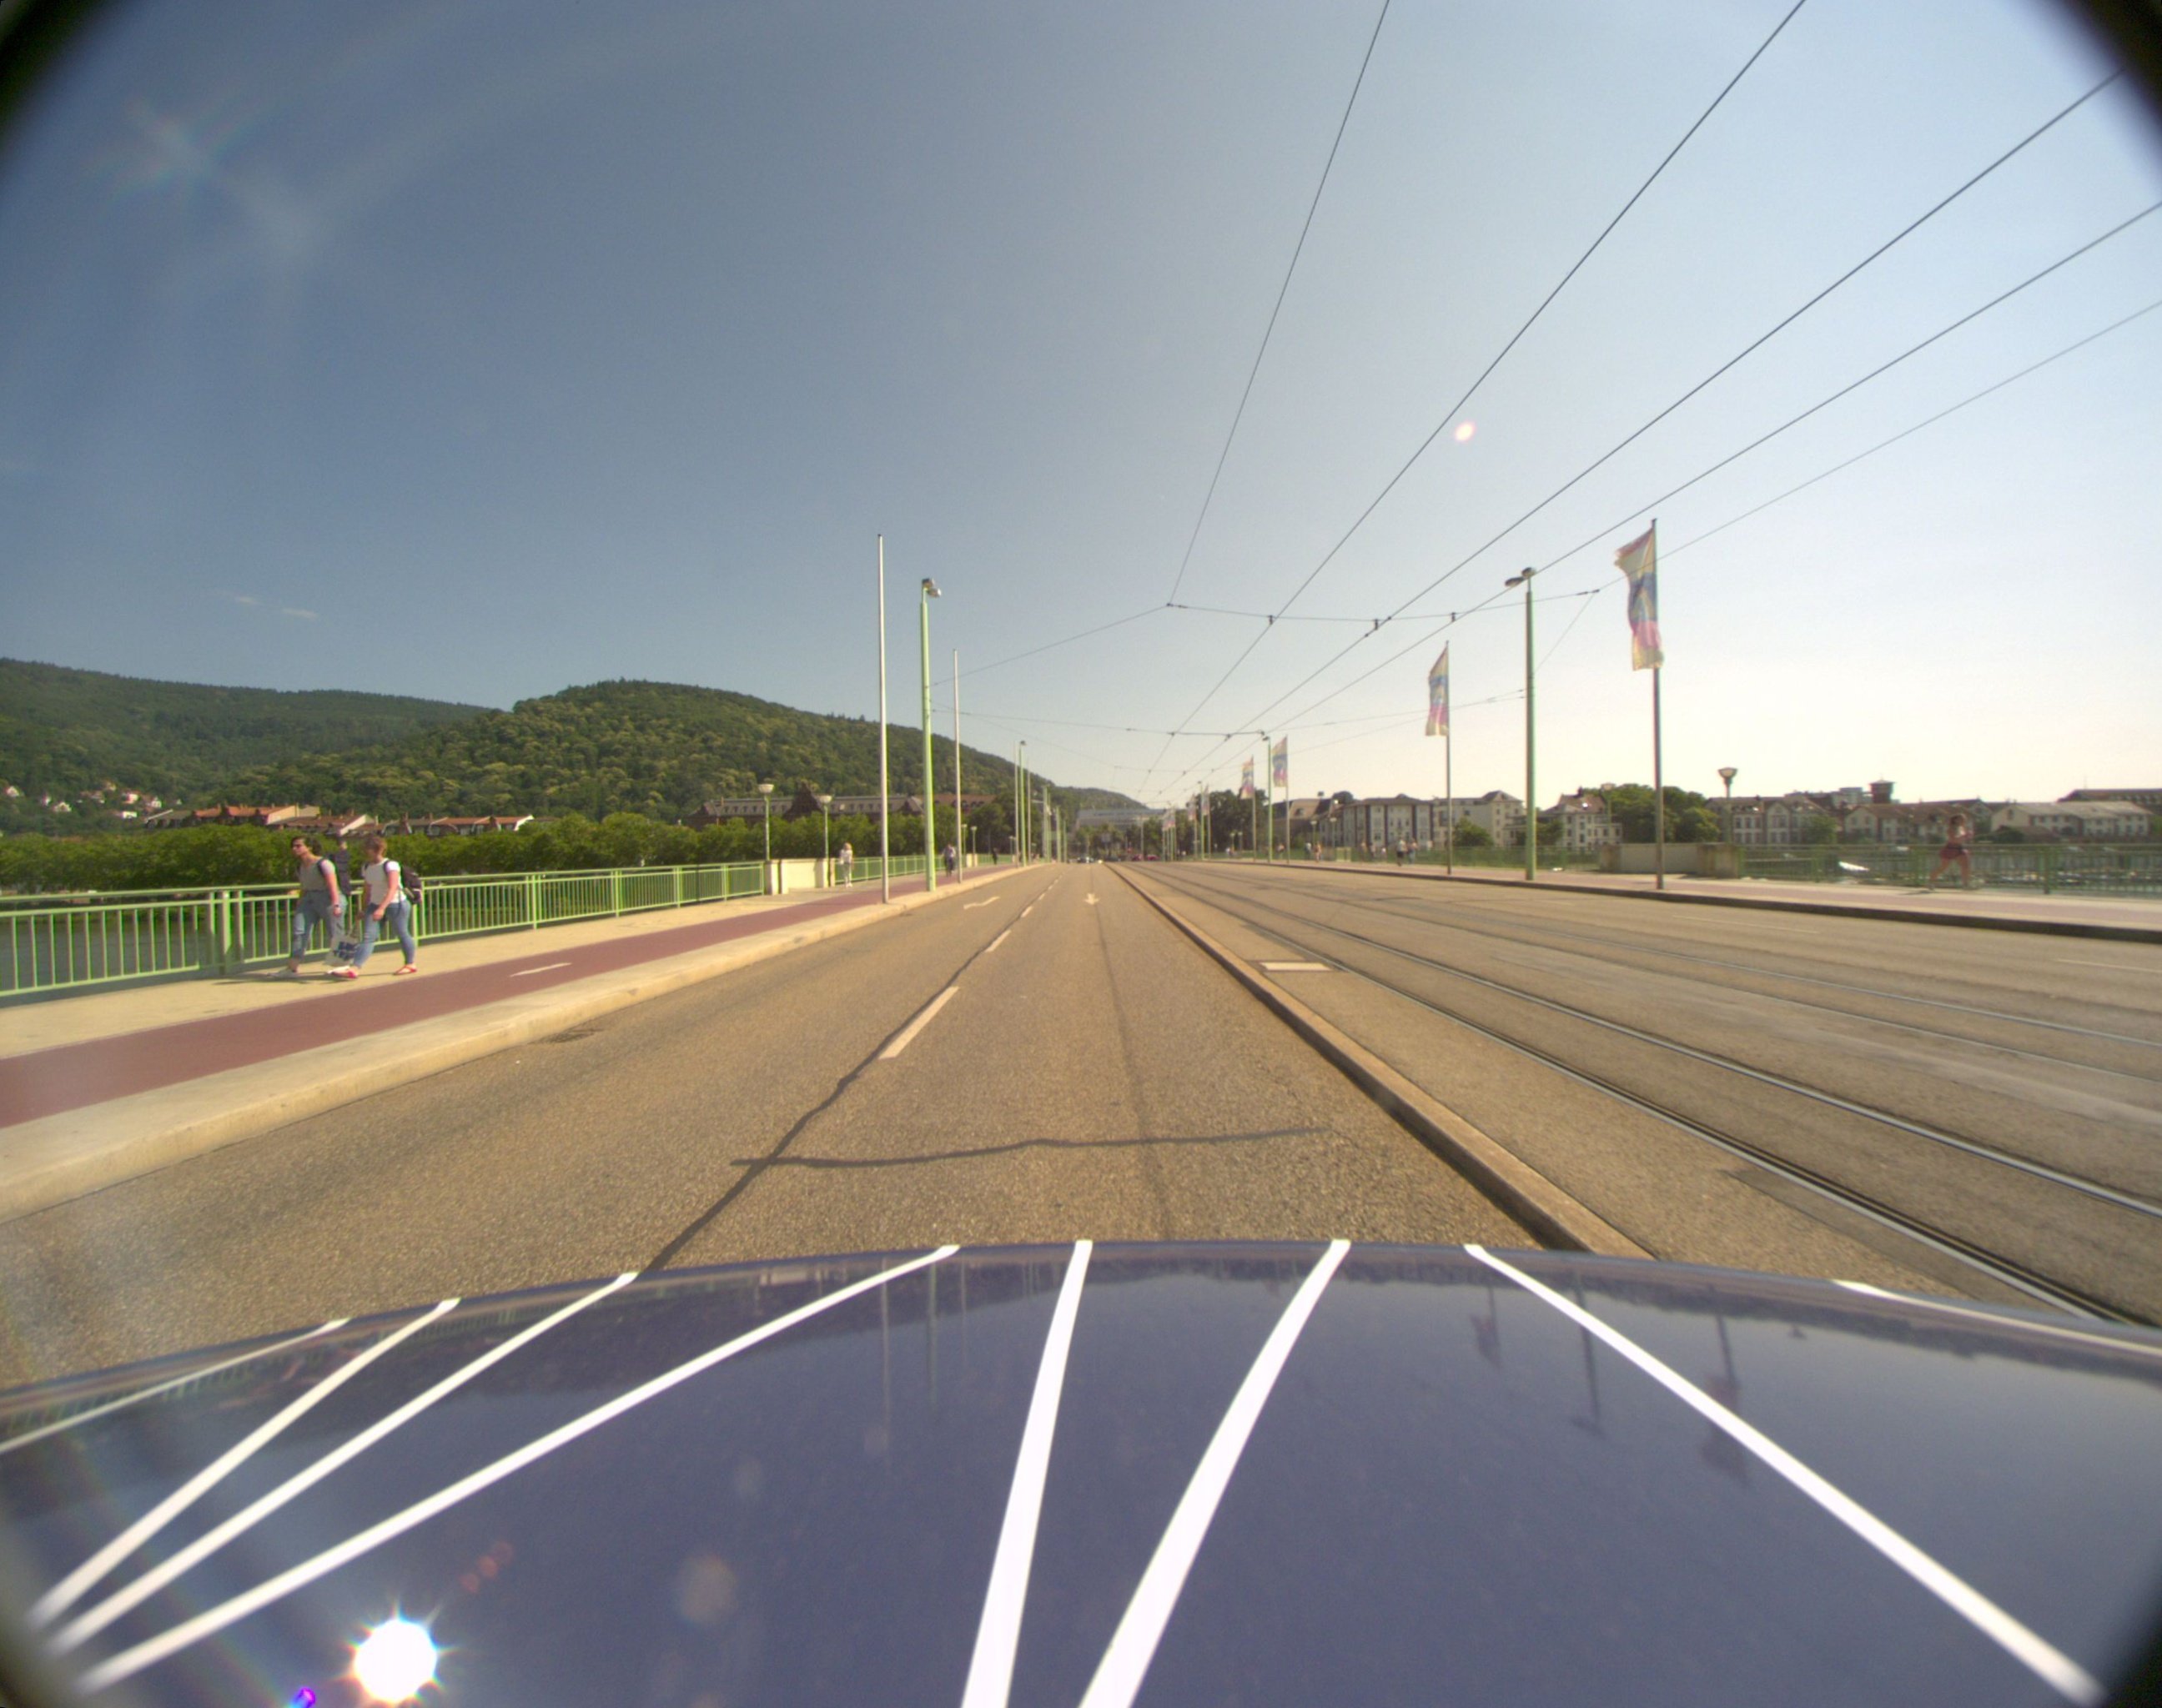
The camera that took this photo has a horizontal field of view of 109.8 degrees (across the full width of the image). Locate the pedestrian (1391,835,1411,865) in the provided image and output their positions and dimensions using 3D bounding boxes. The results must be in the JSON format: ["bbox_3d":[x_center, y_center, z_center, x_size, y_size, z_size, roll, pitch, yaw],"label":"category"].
[{"bbox_3d":[18.523,-0.228,43.984,0.671,1.690,1.022,-3,1,1],"label":"pedestrian"}]

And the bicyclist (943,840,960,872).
[{"bbox_3d":[-6.875,0.094,40.327,0.731,1.655,0.844,0,1,1],"label":"bicyclist"}]

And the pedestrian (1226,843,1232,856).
[{"bbox_3d":[20.089,-0.650,103.141,0.592,1.690,0.905,-6,1,1],"label":"pedestrian"}]

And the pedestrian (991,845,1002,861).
[{"bbox_3d":[-8.791,-0.088,79.172,0.950,1.653,1.082,1,1,0],"label":"pedestrian"}]

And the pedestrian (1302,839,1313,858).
[{"bbox_3d":[20.017,-0.491,67.060,0.592,1.690,1.022,-3,1,1],"label":"pedestrian"}]

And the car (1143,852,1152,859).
[{"bbox_3d":[14.686,0.385,167.156,1.672,1.428,3.999,-1,1,1],"label":"car"}]

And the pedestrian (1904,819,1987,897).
[{"bbox_3d":[19.668,0.080,17.301,0.686,1.681,1.022,-3,1,1],"label":"pedestrian"}]

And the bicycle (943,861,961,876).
[{"bbox_3d":[-6.854,0.750,40.538,0.595,0.761,1.866,0,1,1],"label":"bicycle"}]

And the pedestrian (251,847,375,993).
[{"bbox_3d":[-9.001,0.740,8.940,0.669,1.650,0.745,0,1,0],"label":"pedestrian"}]

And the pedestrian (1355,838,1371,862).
[{"bbox_3d":[19.080,-0.260,51.475,0.627,1.590,1.022,-3,1,1],"label":"pedestrian"}]

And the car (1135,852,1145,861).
[{"bbox_3d":[12.298,0.497,158.798,1.714,1.687,4.000,-5,1,1],"label":"car"}]

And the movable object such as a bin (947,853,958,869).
[{"bbox_3d":[-8.579,0.470,50.782,0.583,1.084,0.933,0,1,0],"label":"movable object such as a bin"}]

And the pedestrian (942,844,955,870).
[{"bbox_3d":[-8.688,0.161,49.930,0.664,1.696,0.859,0,1,0],"label":"pedestrian"}]

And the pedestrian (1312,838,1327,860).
[{"bbox_3d":[18.716,-0.370,59.577,0.787,1.690,1.022,-3,1,0],"label":"pedestrian"}]

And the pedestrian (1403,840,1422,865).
[{"bbox_3d":[19.185,-0.087,43.962,0.592,1.407,1.022,-3,1,1],"label":"pedestrian"}]

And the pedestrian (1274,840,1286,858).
[{"bbox_3d":[19.009,-0.491,72.476,0.787,1.689,1.022,-3,0,0],"label":"pedestrian"}]

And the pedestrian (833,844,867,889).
[{"bbox_3d":[-8.819,0.457,29.032,0.950,1.653,1.082,0,1,0],"label":"pedestrian"}]

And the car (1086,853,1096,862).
[{"bbox_3d":[2.206,0.807,163.018,1.998,1.687,3.999,-3,2,1],"label":"car"}]

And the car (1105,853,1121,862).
[{"bbox_3d":[8.328,0.875,198.036,3.997,2.002,1.999,-6,1,-2],"label":"car"}]

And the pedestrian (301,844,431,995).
[{"bbox_3d":[-8.163,0.718,8.717,0.664,1.650,0.825,0,1,0],"label":"pedestrian"}]

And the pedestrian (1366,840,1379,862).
[{"bbox_3d":[19.758,-0.214,51.489,0.547,1.429,0.789,-3,1,0],"label":"pedestrian"}]

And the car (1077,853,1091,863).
[{"bbox_3d":[0.538,0.648,125.341,1.998,1.379,4.000,-6,1,1],"label":"car"}]
